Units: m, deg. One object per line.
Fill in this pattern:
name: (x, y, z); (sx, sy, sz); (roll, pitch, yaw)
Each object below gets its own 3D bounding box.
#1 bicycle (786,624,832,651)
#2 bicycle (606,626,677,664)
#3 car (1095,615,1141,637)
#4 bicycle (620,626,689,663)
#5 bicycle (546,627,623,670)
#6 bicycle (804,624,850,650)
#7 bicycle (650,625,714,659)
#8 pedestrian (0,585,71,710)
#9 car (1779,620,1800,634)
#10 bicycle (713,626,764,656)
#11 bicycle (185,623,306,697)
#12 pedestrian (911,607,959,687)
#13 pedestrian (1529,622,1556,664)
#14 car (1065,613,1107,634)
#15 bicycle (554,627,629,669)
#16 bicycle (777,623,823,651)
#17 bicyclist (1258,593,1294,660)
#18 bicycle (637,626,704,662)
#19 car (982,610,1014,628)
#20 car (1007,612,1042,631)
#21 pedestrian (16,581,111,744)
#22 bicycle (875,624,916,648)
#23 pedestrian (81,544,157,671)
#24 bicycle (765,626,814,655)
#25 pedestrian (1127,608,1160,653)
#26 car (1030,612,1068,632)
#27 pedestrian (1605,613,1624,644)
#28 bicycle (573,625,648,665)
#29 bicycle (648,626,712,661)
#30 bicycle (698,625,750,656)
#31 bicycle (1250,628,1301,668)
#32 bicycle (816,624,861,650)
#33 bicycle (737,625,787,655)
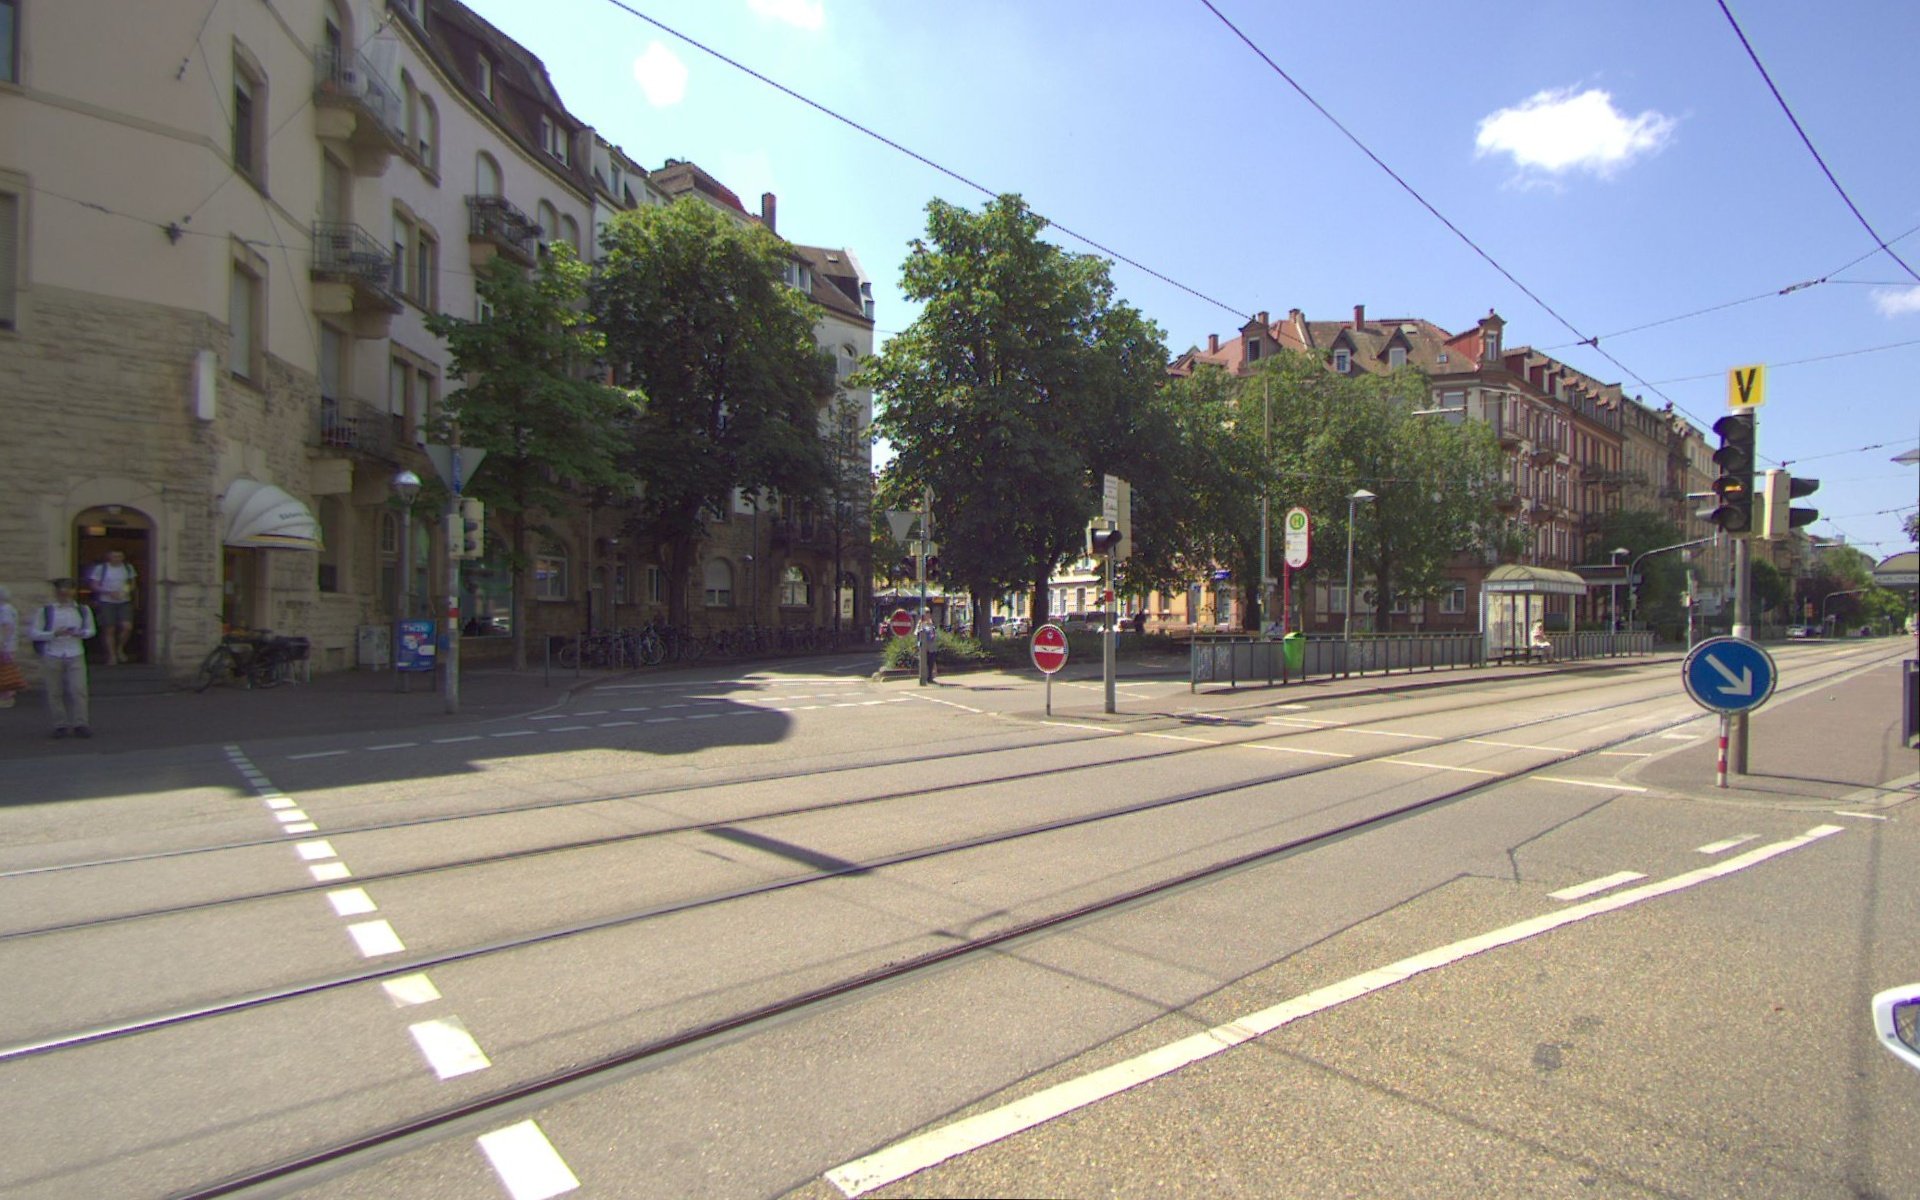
bicycle: (-6.037, 1.481, 40.236); (1.820, 1.046, 0.544); (0, -1, 24)
bicycle: (-8.992, 1.272, 28.378); (1.818, 1.046, 0.545); (0, -1, 7)
car: (10.717, 1.743, 68.373); (1.659, 1.491, 3.456); (1, -1, -19)
bicycle: (-8.874, 1.286, 29.182); (1.818, 1.046, 0.545); (0, -1, 6)
bicycle: (-9.257, 1.198, 24.825); (1.701, 1.046, 0.543); (1, -1, -11)
bicycle: (-5.448, 1.500, 41.118); (1.820, 1.046, 0.544); (0, -1, 24)
bicycle: (-8.678, 1.310, 31.377); (1.820, 1.046, 0.544); (0, -1, -4)
pedestrian: (-12.509, 0.624, 13.404); (0.798, 1.616, 0.914); (0, -1, 45)
car: (101.372, 3.309, 122.813); (1.765, 1.607, 3.985); (2, 0, 37)
bicycle: (-7.908, 1.453, 35.813); (1.820, 1.046, 0.544); (0, -1, 25)
bicycle: (-11.561, 0.963, 16.313); (0.533, 1.143, 1.684); (1, -3, 9)
pedestrian: (-0.549, 1.032, 22.470); (0.823, 1.746, 0.919); (0, -1, 16)
pedestrian: (17.946, 1.321, 30.946); (0.606, 1.259, 0.625); (0, -1, 40)
car: (9.034, 1.653, 72.152); (1.659, 1.491, 3.456); (1, -1, -19)
bicycle: (-9.339, 1.220, 25.499); (1.701, 1.046, 0.543); (1, -1, -11)
bicycle: (-6.325, 1.455, 39.682); (1.820, 1.046, 0.544); (0, -1, 24)
bicyclist: (9.182, 0.765, 29.181); (0.819, 1.895, 0.716); (1, -1, -43)
bicycle: (-8.611, 1.307, 29.928); (1.818, 1.046, 0.544); (0, -1, 3)
car: (3.301, 1.678, 88.252); (1.659, 1.491, 3.456); (1, -1, -19)
car: (5.276, 1.770, 82.663); (1.659, 1.491, 3.456); (1, -1, -19)
pedestrian: (-10.200, 0.677, 11.447); (0.770, 1.756, 0.852); (1, 1, -42)
bicycle: (-2.903, 1.615, 45.203); (1.820, 1.046, 0.544); (0, -1, 24)
pedestrian: (-12.927, 0.125, 15.437); (0.753, 1.876, 0.816); (0, -1, 45)
bicycle: (-6.439, 1.511, 37.955); (1.821, 1.046, 0.544); (0, -1, 25)
pedestrian: (7.790, 1.304, 42.732); (1.003, 1.893, 0.997); (1, -1, -24)
car: (6.886, 1.682, 78.129); (1.659, 1.491, 3.456); (1, -1, -19)
pedestrian: (39.319, 1.691, 60.338); (0.730, 1.835, 0.637); (1, -1, -24)
bicycle: (-9.336, 1.214, 26.906); (1.823, 1.046, 0.543); (1, -1, -11)
bicycle: (-8.572, 1.324, 30.791); (1.820, 1.046, 0.544); (0, -1, -4)
bicycle: (-8.249, 1.409, 35.091); (1.821, 1.046, 0.544); (0, -1, 25)
bicycle: (9.161, 1.367, 29.126); (0.721, 1.116, 1.705); (0, -1, 44)
bicycle: (-5.076, 1.522, 41.937); (1.820, 1.046, 0.544); (0, -1, 24)
bicycle: (-7.226, 1.462, 36.694); (1.821, 1.046, 0.544); (0, -1, 25)
